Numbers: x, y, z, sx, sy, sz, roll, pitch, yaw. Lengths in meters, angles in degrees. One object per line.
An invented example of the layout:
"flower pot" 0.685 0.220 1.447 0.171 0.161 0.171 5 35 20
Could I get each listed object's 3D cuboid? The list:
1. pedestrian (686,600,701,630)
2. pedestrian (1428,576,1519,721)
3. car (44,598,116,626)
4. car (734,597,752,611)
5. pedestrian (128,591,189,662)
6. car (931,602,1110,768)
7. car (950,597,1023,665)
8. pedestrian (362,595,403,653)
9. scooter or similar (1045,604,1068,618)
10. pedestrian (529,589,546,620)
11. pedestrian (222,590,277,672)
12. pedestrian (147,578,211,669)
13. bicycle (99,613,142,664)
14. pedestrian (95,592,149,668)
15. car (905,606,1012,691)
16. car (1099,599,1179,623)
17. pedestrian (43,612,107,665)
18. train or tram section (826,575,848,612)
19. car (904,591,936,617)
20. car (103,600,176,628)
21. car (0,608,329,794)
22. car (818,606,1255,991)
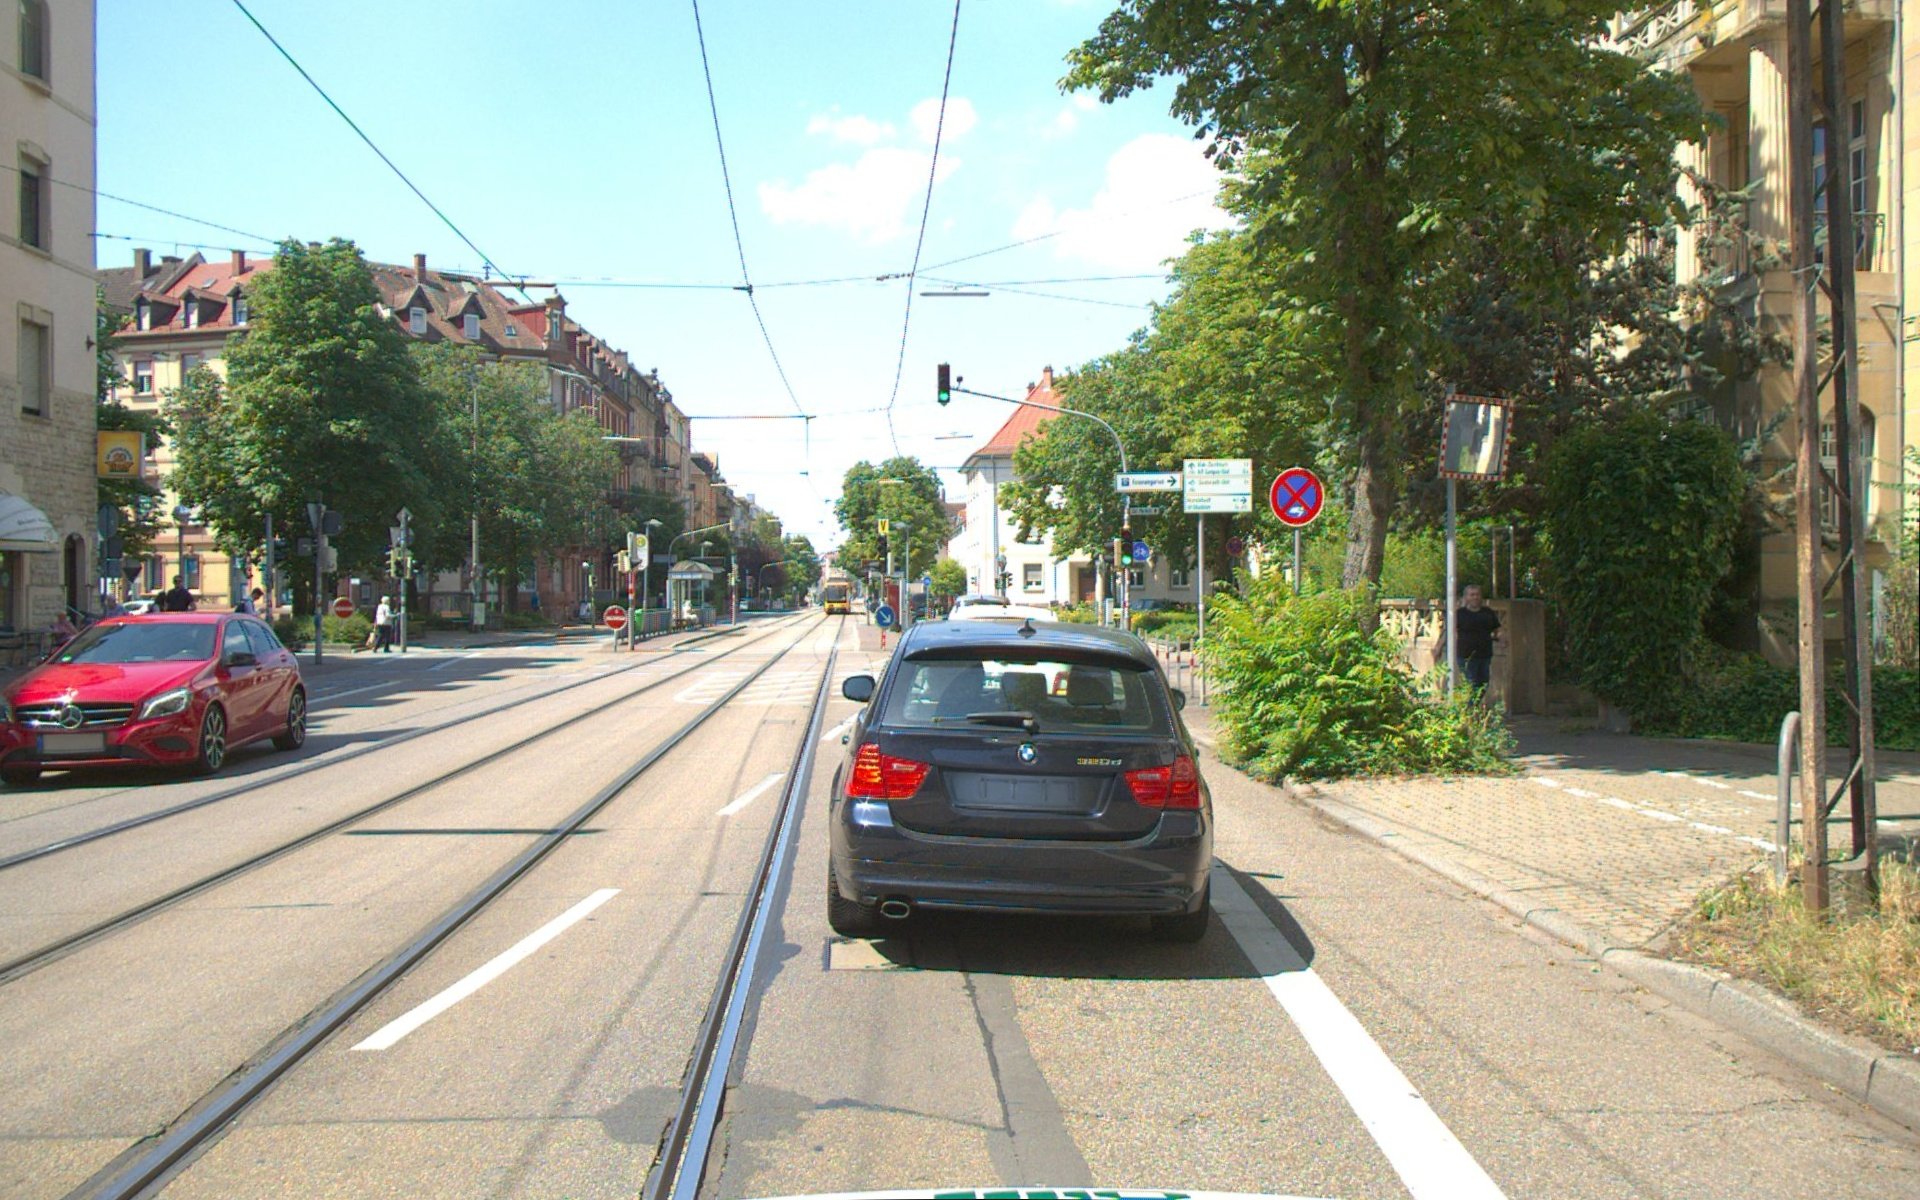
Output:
"pedestrian" -11.436 0.640 70.954 0.602 1.264 0.626 0 0 -10
"pedestrian" 6.082 0.559 19.615 0.839 1.674 0.837 -1 0 3
"car" -47.983 0.675 90.204 3.388 1.497 1.685 0 0 21
"car" -25.522 0.484 194.841 1.756 1.614 3.988 1 -1 -12
"pedestrian" -19.124 0.628 39.470 1.001 1.664 0.864 0 0 16
"car" 0.571 0.790 17.184 1.650 1.510 3.684 0 0 0
"car" 0.600 0.697 39.524 1.656 1.540 3.821 0 0 0
"pedestrian" -17.634 0.717 50.516 0.896 1.753 0.841 0 0 7
"scooter or similar" 5.854 0.652 100.487 1.287 0.852 0.525 0 0 -9
"pedestrian" -24.955 0.249 97.609 0.630 1.843 0.735 0 0 44
"pedestrian" -15.537 0.667 36.186 0.842 1.763 0.775 1 0 -2
"pedestrian" -16.792 0.490 35.587 0.883 1.924 1.163 0 0 -5
"bicycle" -19.574 0.907 38.554 0.539 1.148 1.658 0 -2 -40
"pedestrian" -18.189 0.637 35.914 0.792 1.622 0.917 0 0 -9
"car" -0.092 0.794 28.554 1.657 1.346 3.819 0 0 -3
"car" 9.553 0.586 88.406 3.914 1.265 1.620 0 0 32
"pedestrian" -18.759 0.803 35.082 0.897 1.096 0.882 0 0 -3
"train or tram section" -12.001 -0.630 161.634 2.147 3.543 8.838 0 0 -4
"car" -2.982 0.305 121.566 1.956 1.881 3.994 0 0 -7
"car" -44.263 0.737 89.191 3.388 1.497 1.685 0 0 21
"car" -7.574 0.849 15.864 1.788 1.438 4.422 -2 0 -7
"car" 0.358 0.792 8.835 1.687 1.433 4.565 2 0 1
